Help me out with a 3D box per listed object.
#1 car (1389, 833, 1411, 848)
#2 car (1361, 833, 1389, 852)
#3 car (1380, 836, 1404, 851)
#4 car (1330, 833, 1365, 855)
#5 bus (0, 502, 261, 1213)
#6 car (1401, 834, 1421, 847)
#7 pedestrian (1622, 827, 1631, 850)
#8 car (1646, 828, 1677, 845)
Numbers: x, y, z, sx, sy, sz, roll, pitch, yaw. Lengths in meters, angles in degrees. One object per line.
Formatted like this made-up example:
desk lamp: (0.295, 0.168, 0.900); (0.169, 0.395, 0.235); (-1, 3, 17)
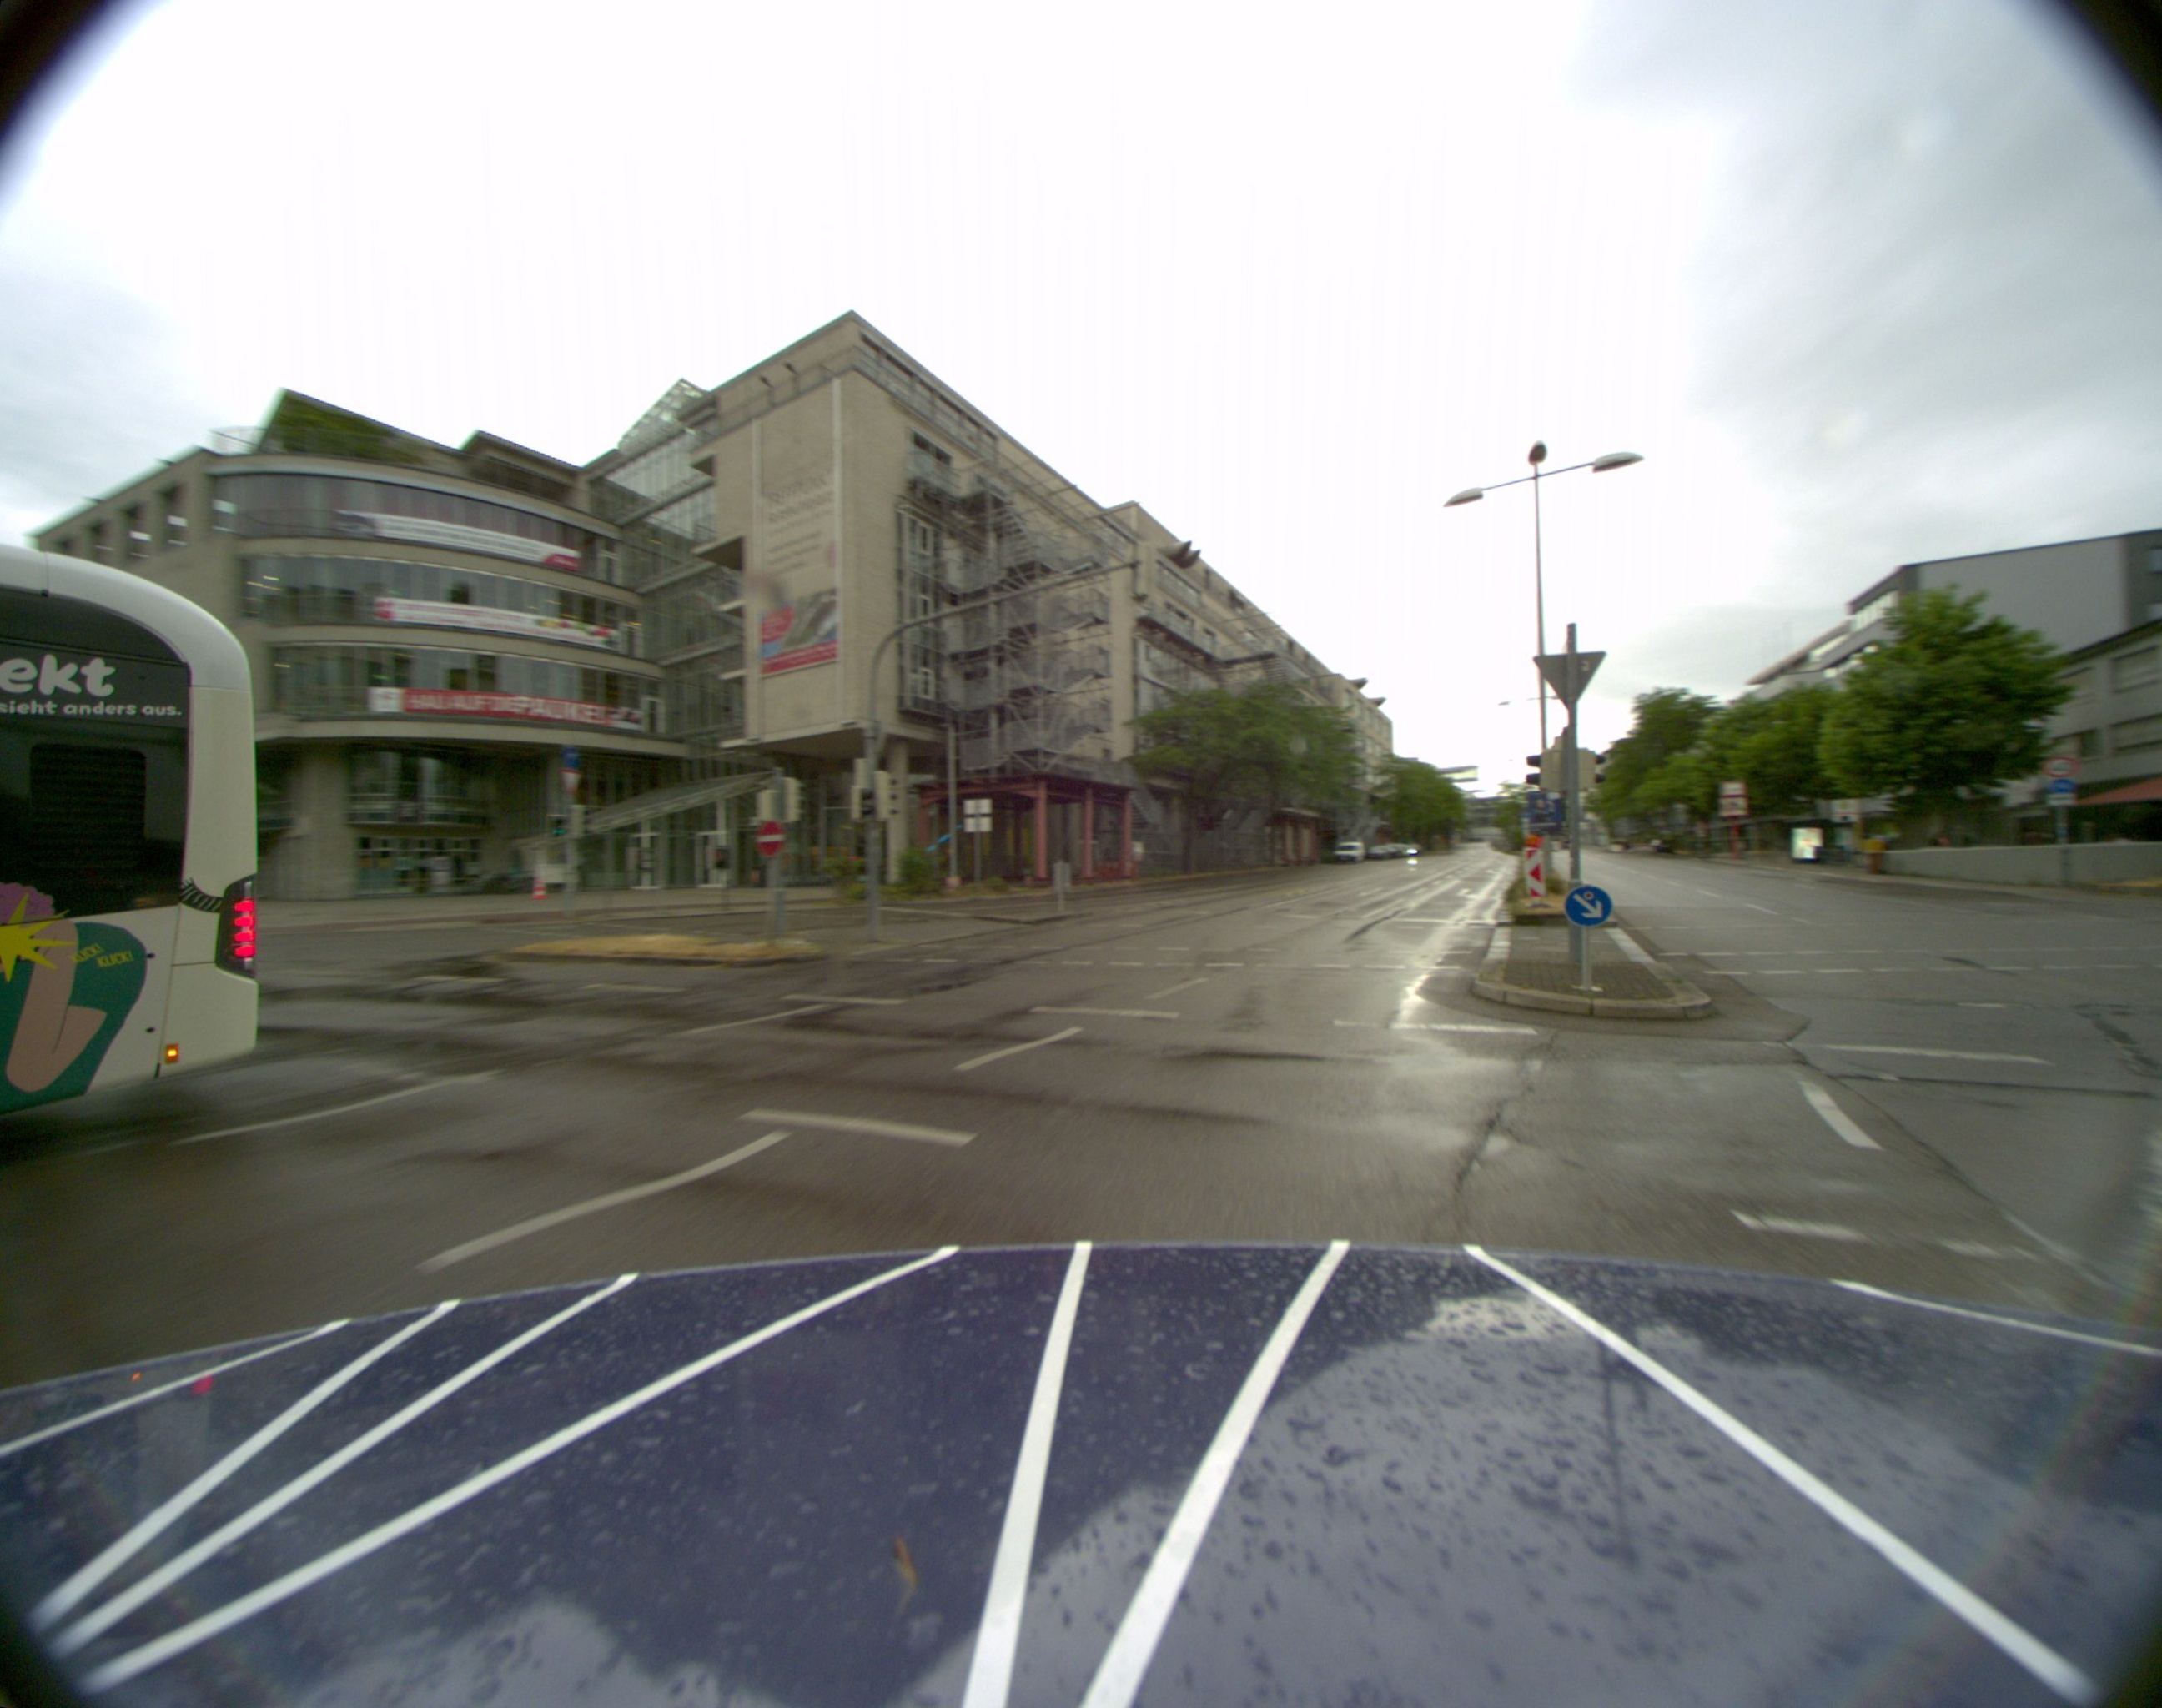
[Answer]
car: (35.555, -1.520, 84.681); (1.754, 1.501, 4.344); (-1, 1, 29)
car: (28.669, -1.171, 74.042); (1.995, 1.783, 4.344); (-1, 1, 29)
car: (32.585, -1.098, 79.577); (1.754, 1.501, 4.344); (-1, 1, 29)
car: (22.638, -0.833, 64.439); (1.995, 1.783, 4.344); (-1, 1, 29)
bus: (-8.266, 0.108, 1.809); (2.679, 3.568, 8.103); (-1, 1, 32)
car: (38.857, -1.579, 89.345); (1.754, 1.501, 4.344); (-1, 1, 29)
pedestrian: (49.536, -1.401, 68.994); (0.613, 2.002, 0.695); (0, 1, 41)
car: (60.455, -1.827, 79.144); (1.995, 1.740, 4.007); (-1, 1, 29)
